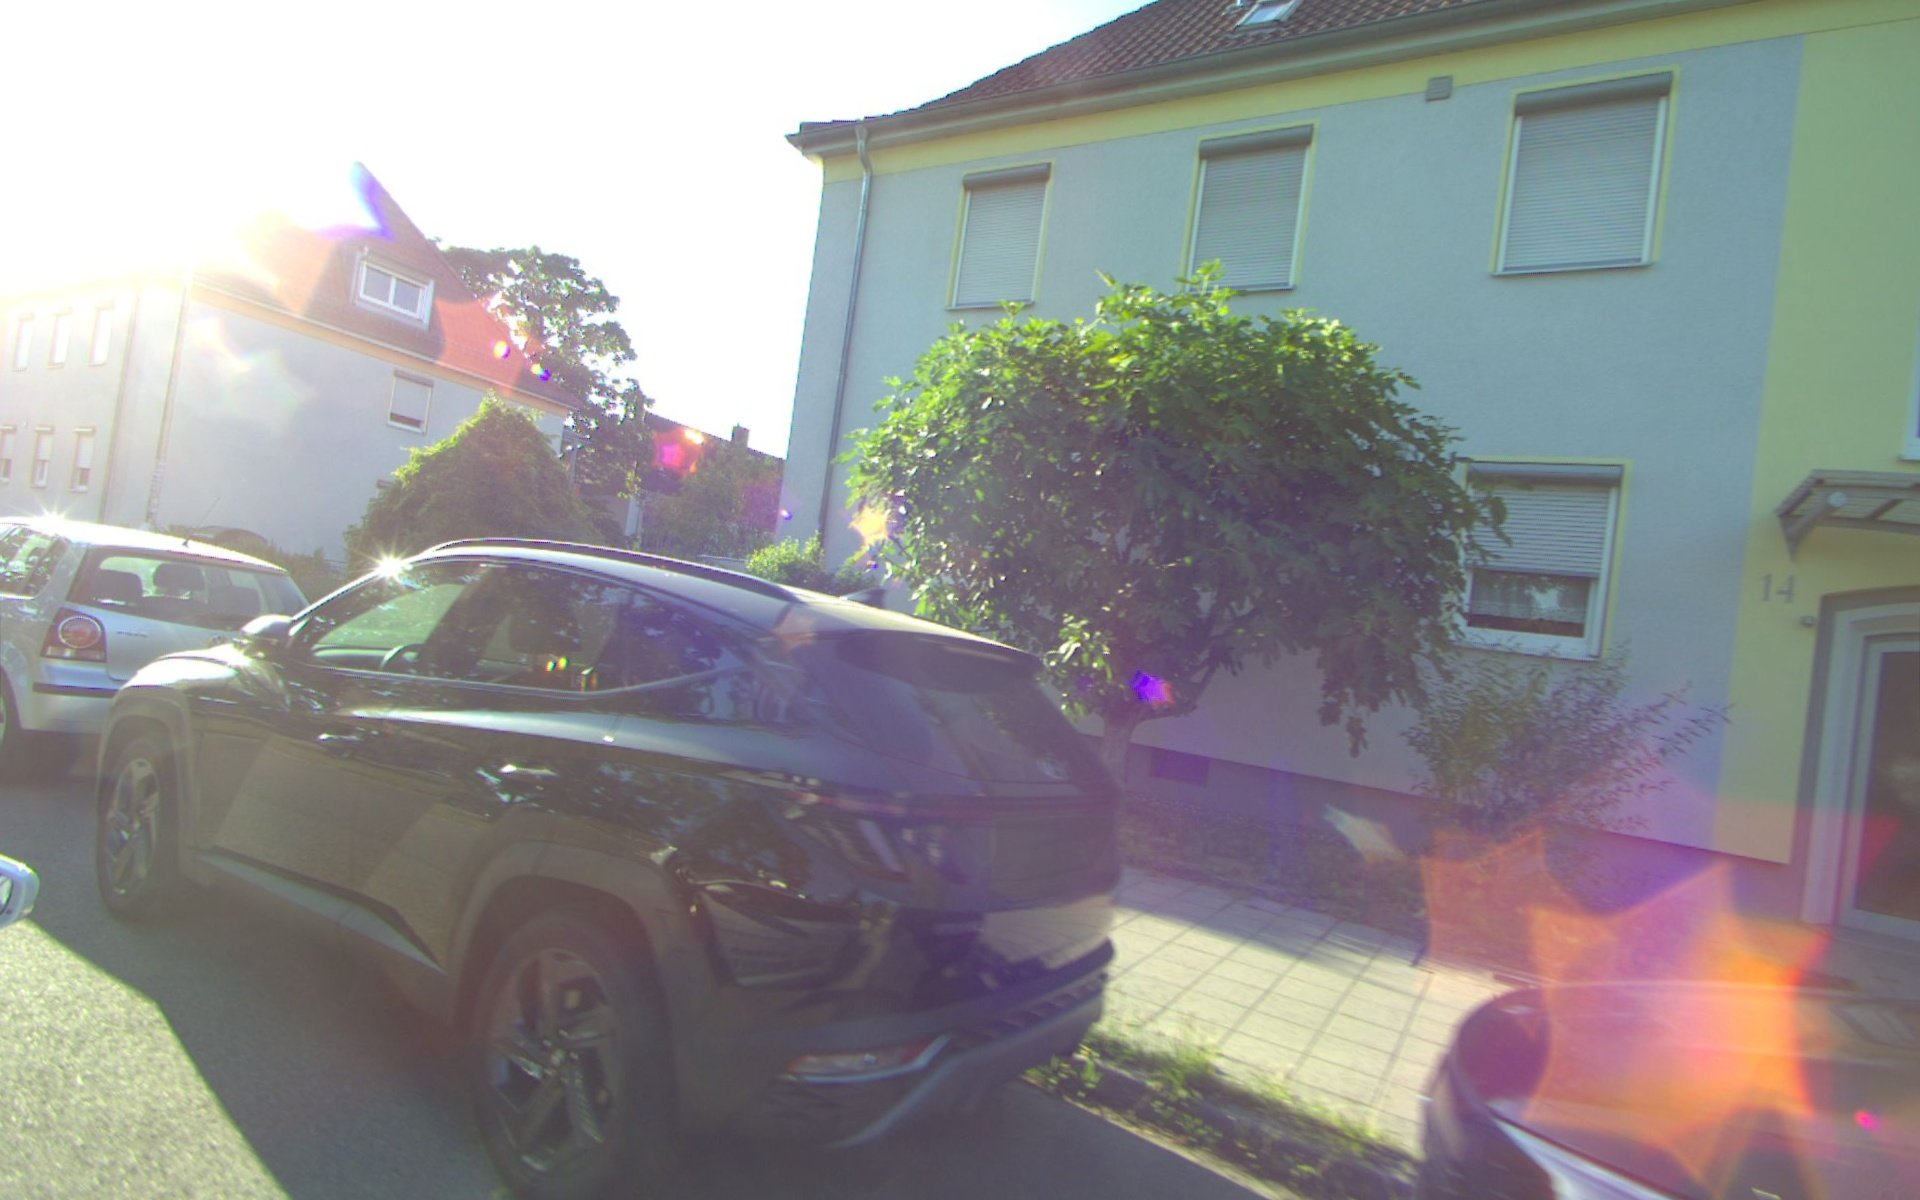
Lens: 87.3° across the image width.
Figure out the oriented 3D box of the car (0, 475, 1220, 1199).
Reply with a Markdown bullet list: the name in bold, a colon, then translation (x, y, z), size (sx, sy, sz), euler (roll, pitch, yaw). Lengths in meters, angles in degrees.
- **car**: translation (-1.682, 0.641, 3.947), size (4.740, 1.676, 1.858), euler (7, -2, 32)

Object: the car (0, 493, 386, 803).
- **car**: translation (-6.125, 0.201, 6.908), size (4.136, 1.563, 1.735), euler (6, -6, 30)

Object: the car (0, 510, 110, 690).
- **car**: translation (-10.208, -0.267, 9.515), size (4.487, 1.478, 1.998), euler (7, -3, 33)

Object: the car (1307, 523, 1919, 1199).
- **car**: translation (2.926, 1.125, 1.105), size (4.544, 1.738, 1.939), euler (7, -4, 32)
